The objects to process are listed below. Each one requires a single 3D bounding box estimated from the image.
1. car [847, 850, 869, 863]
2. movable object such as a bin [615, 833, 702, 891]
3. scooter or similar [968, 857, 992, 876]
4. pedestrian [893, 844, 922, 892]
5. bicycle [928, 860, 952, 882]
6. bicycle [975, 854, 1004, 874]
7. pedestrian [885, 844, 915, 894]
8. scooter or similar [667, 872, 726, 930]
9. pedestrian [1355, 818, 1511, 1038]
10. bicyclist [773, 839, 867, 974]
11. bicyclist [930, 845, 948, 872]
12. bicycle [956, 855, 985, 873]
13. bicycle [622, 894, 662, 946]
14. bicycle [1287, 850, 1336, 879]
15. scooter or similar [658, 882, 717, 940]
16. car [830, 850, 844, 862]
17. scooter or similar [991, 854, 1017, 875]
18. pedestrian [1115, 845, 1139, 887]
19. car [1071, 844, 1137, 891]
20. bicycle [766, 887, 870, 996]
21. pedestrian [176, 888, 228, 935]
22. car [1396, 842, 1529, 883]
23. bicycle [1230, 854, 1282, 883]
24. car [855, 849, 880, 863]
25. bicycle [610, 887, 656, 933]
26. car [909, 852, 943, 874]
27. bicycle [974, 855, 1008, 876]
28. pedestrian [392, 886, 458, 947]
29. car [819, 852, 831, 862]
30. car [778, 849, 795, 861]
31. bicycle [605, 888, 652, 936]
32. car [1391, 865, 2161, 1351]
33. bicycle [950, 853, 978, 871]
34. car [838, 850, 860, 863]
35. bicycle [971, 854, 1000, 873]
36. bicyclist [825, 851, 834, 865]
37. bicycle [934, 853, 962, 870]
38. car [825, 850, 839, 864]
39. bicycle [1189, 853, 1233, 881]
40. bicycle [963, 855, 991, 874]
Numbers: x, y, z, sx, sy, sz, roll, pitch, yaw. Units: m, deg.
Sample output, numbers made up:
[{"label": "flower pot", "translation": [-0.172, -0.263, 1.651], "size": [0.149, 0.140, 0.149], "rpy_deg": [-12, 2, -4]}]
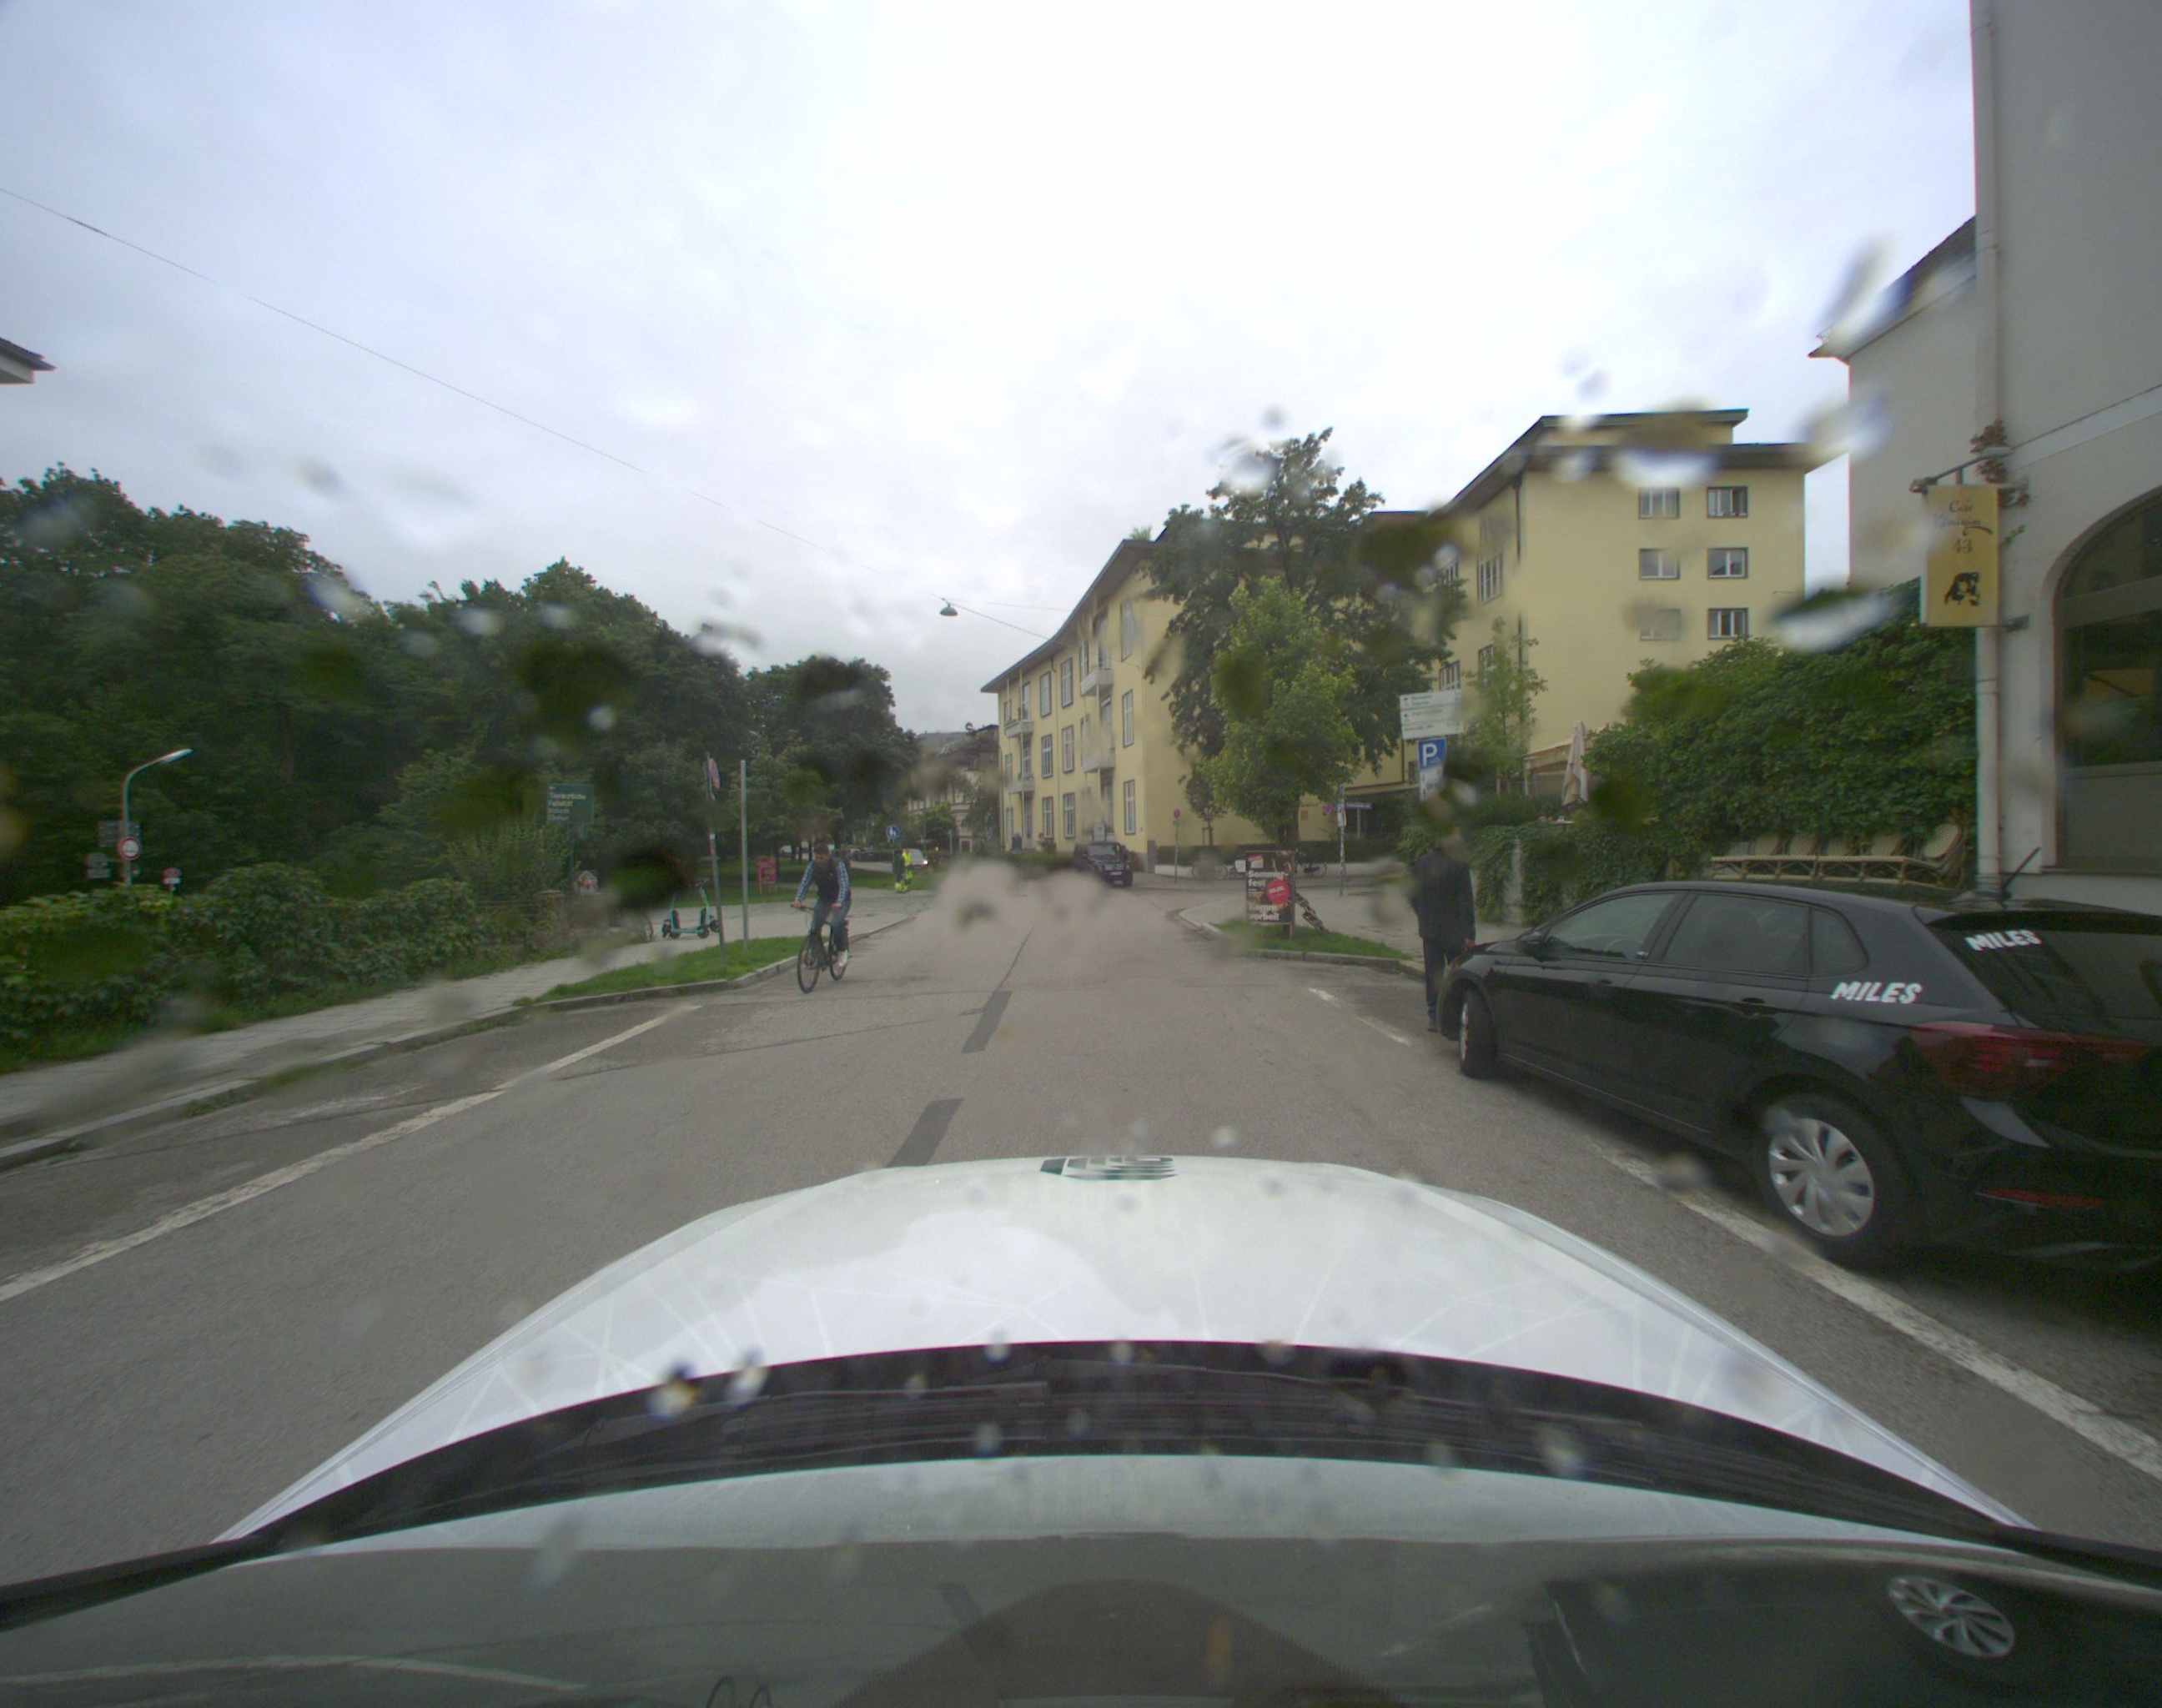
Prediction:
[{"label": "car", "translation": [-28.100, 0.347, 102.556], "size": [2.004, 1.606, 3.965], "rpy_deg": [-1, 0, -27]}, {"label": "movable object such as a bin", "translation": [-24.832, 0.438, 48.002], "size": [1.974, 3.213, 4.026], "rpy_deg": [-2, 0, 34]}, {"label": "scooter or similar", "translation": [-7.131, 0.853, 57.653], "size": [0.725, 1.305, 1.741], "rpy_deg": [-1, 0, 32]}, {"label": "pedestrian", "translation": [-7.418, 0.605, 34.807], "size": [0.927, 2.013, 0.958], "rpy_deg": [-1, 0, 4]}, {"label": "bicycle", "translation": [-8.116, 0.981, 46.732], "size": [0.747, 1.215, 2.125], "rpy_deg": [-2, 0, -27]}, {"label": "bicycle", "translation": [-6.309, 0.672, 56.426], "size": [0.725, 1.305, 2.170], "rpy_deg": [-1, 0, 35]}, {"label": "pedestrian", "translation": [-7.465, 0.597, 33.655], "size": [0.927, 2.013, 0.958], "rpy_deg": [-1, 0, 4]}, {"label": "scooter or similar", "translation": [-8.427, 1.010, 17.889], "size": [0.341, 1.188, 1.126], "rpy_deg": [-1, 0, 38]}, {"label": "pedestrian", "translation": [3.163, 0.611, 7.338], "size": [0.961, 1.801, 0.925], "rpy_deg": [1, -1, -38]}, {"label": "bicyclist", "translation": [-3.266, 0.635, 10.278], "size": [0.860, 1.607, 0.946], "rpy_deg": [-1, -1, -1]}, {"label": "bicyclist", "translation": [-8.148, 0.281, 46.738], "size": [0.747, 1.521, 0.937], "rpy_deg": [-2, 0, -28]}, {"label": "bicycle", "translation": [-7.973, 0.716, 58.907], "size": [0.725, 1.305, 2.170], "rpy_deg": [-1, 0, 35]}, {"label": "bicycle", "translation": [-8.971, 1.331, 16.671], "size": [0.544, 0.974, 1.147], "rpy_deg": [-1, 0, -20]}, {"label": "bicycle", "translation": [9.700, 0.428, 34.304], "size": [1.913, 1.201, 0.596], "rpy_deg": [-1, 0, 3]}, {"label": "scooter or similar", "translation": [-8.260, 1.190, 17.098], "size": [1.109, 1.188, 0.346], "rpy_deg": [-1, 0, 9]}, {"label": "car", "translation": [-36.442, 0.315, 121.577], "size": [1.999, 1.606, 3.976], "rpy_deg": [-1, 0, -17]}, {"label": "scooter or similar", "translation": [-5.031, 0.660, 53.421], "size": [0.725, 1.305, 2.168], "rpy_deg": [-1, 0, 23]}, {"label": "pedestrian", "translation": [2.025, 0.504, 35.852], "size": [0.875, 1.823, 0.795], "rpy_deg": [-1, 0, -12]}, {"label": "car", "translation": [0.940, 0.549, 35.792], "size": [1.764, 1.874, 4.359], "rpy_deg": [3, 0, -13]}, {"label": "bicycle", "translation": [-3.258, 1.033, 10.289], "size": [0.668, 1.159, 2.002], "rpy_deg": [-1, 0, -1]}, {"label": "pedestrian", "translation": [-33.079, 2.155, 30.665], "size": [0.938, 1.688, 0.891], "rpy_deg": [-2, 0, 2]}, {"label": "car", "translation": [14.427, 0.331, 30.968], "size": [4.229, 1.446, 1.698], "rpy_deg": [-1, -1, 1]}, {"label": "bicycle", "translation": [7.438, 0.605, 34.647], "size": [2.049, 1.201, 0.598], "rpy_deg": [-1, 0, 22]}, {"label": "car", "translation": [-25.604, 0.247, 97.551], "size": [2.004, 1.606, 3.965], "rpy_deg": [-1, 0, -27]}, {"label": "bicycle", "translation": [-10.170, 1.251, 18.460], "size": [1.563, 0.990, 0.303], "rpy_deg": [-2, 0, 38]}, {"label": "car", "translation": [-10.823, 0.600, 56.596], "size": [1.918, 1.471, 3.978], "rpy_deg": [-1, 0, -16]}, {"label": "bicycle", "translation": [-5.984, 0.741, 54.321], "size": [2.166, 1.305, 0.726], "rpy_deg": [-1, 0, -38]}, {"label": "pedestrian", "translation": [-15.802, 1.489, 19.644], "size": [0.773, 1.329, 0.992], "rpy_deg": [-3, 0, -7]}, {"label": "car", "translation": [-44.162, 0.517, 140.656], "size": [1.999, 1.606, 3.976], "rpy_deg": [-1, 0, -17]}, {"label": "car", "translation": [-42.940, 0.107, 118.733], "size": [2.003, 1.691, 3.967], "rpy_deg": [-2, 0, -25]}, {"label": "bicycle", "translation": [-9.959, 1.252, 17.895], "size": [1.563, 0.990, 0.303], "rpy_deg": [-2, 0, 38]}, {"label": "car", "translation": [3.550, 0.828, 4.651], "size": [1.673, 1.389, 4.300], "rpy_deg": [3, 0, -3]}, {"label": "bicycle", "translation": [-8.683, 0.609, 60.645], "size": [0.725, 1.305, 2.170], "rpy_deg": [-1, 0, 35]}, {"label": "car", "translation": [-30.620, 0.292, 107.558], "size": [2.004, 1.606, 3.965], "rpy_deg": [-1, 0, -27]}, {"label": "bicycle", "translation": [-6.718, 0.666, 57.276], "size": [0.725, 1.305, 2.170], "rpy_deg": [-1, 0, 35]}, {"label": "bicyclist", "translation": [-27.948, 0.432, 90.563], "size": [0.799, 1.470, 0.886], "rpy_deg": [-1, 0, -25]}, {"label": "bicycle", "translation": [-10.854, 0.583, 66.509], "size": [2.155, 1.305, 0.730], "rpy_deg": [-1, 0, -18]}, {"label": "car", "translation": [-39.778, 0.432, 130.088], "size": [1.999, 2.159, 3.976], "rpy_deg": [-1, 0, -17]}, {"label": "bicycle", "translation": [5.749, 0.547, 36.083], "size": [0.599, 1.201, 1.904], "rpy_deg": [-1, 0, -45]}, {"label": "bicycle", "translation": [-7.431, 0.737, 58.220], "size": [0.725, 1.305, 2.170], "rpy_deg": [-1, 0, 35]}]
